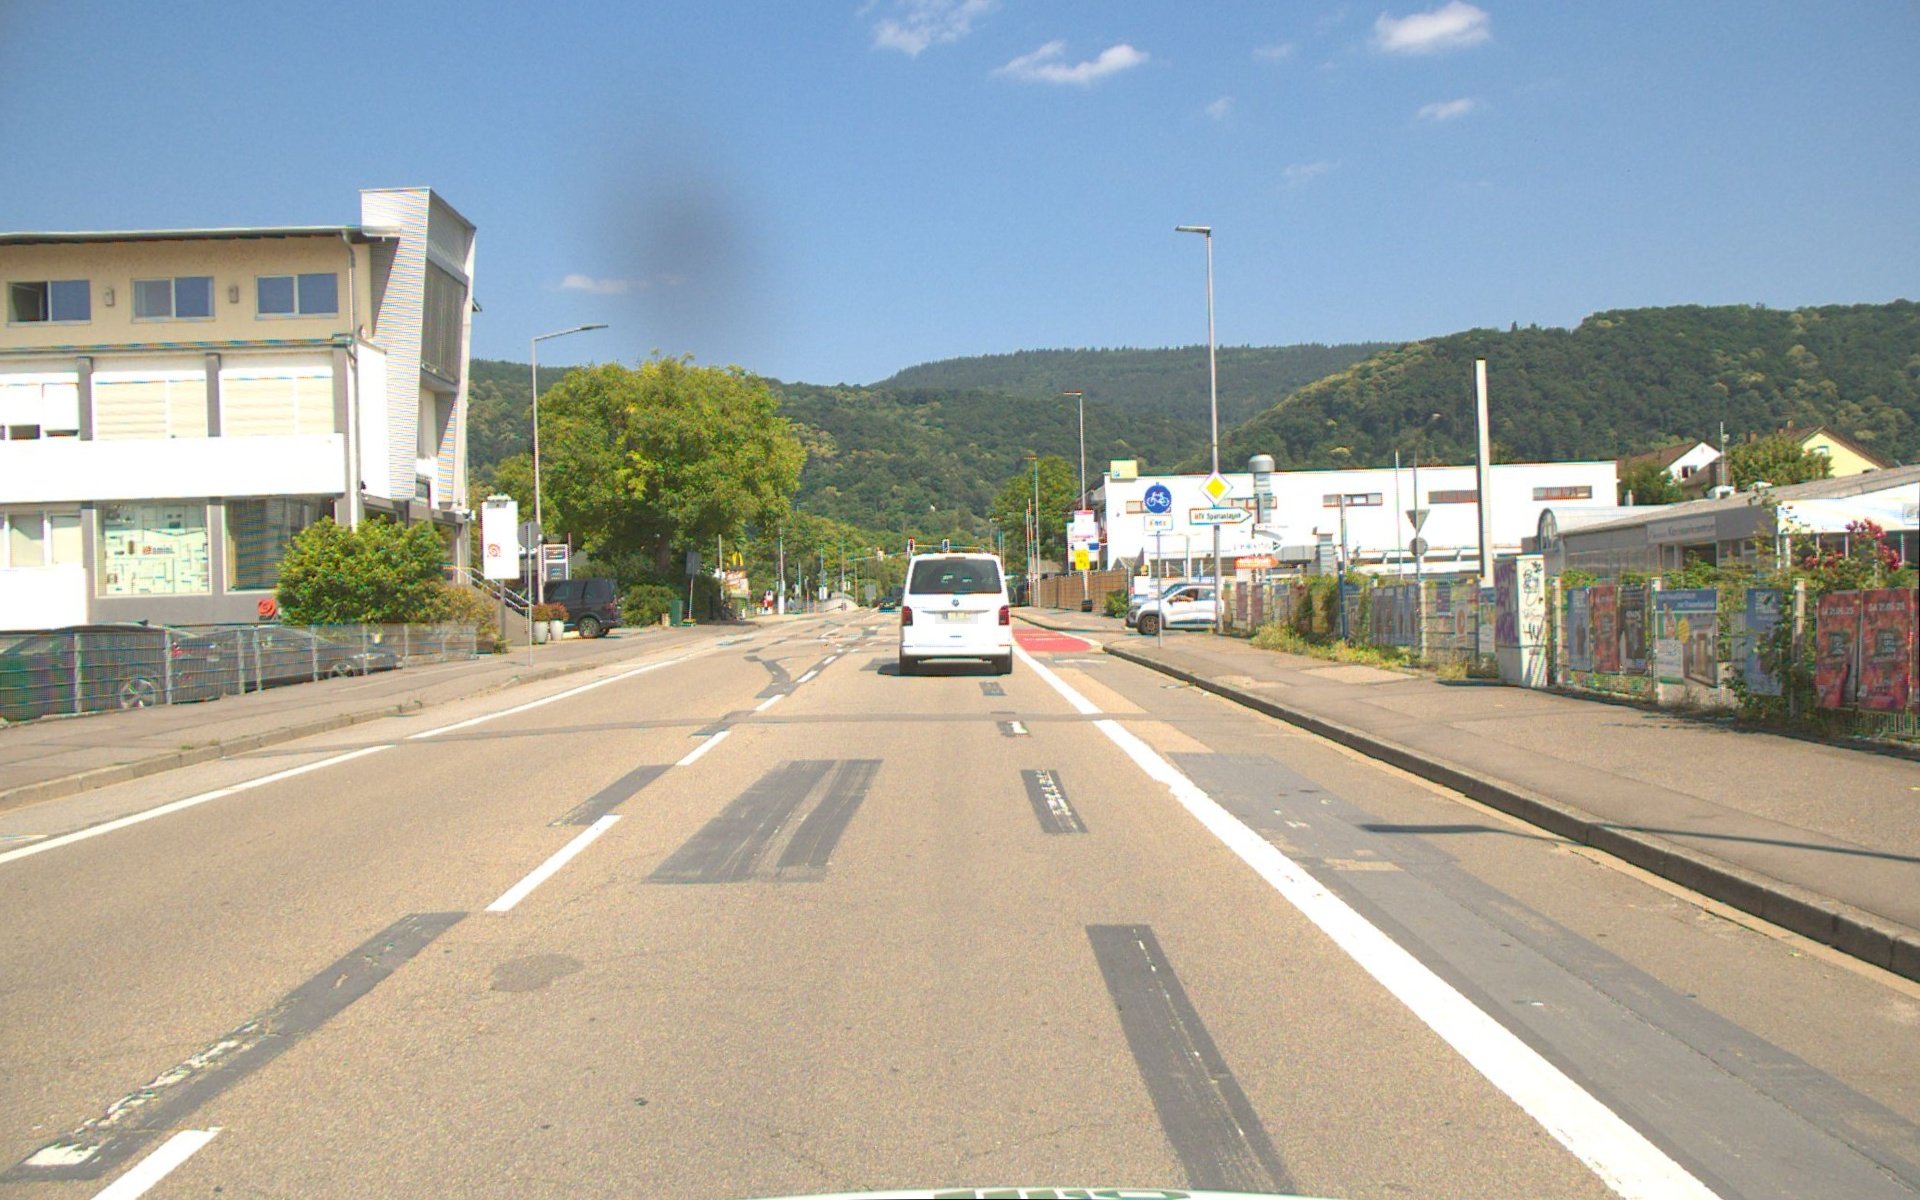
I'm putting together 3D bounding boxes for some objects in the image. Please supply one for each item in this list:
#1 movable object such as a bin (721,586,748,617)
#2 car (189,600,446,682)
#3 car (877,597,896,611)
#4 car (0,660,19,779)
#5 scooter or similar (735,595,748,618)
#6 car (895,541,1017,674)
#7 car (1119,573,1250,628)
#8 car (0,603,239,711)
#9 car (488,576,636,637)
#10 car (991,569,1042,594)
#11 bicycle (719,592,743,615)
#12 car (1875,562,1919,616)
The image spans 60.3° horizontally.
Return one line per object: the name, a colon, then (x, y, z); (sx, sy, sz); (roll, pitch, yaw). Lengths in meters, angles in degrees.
movable object such as a bin: (-12.636, 0.076, 92.682); (1.422, 1.618, 1.304); (-3, 0, -10)
car: (-13.654, 0.851, 35.354); (4.644, 1.506, 2.047); (-2, 0, -3)
car: (-7.953, 0.376, 179.699); (1.954, 1.394, 4.325); (-3, 0, -2)
car: (-14.097, 1.439, 20.317); (3.909, 1.516, 1.857); (2, -2, -5)
scooter or similar: (-11.499, 0.330, 87.033); (0.634, 1.147, 1.620); (1, 0, -7)
car: (-0.145, 0.103, 28.552); (1.896, 2.095, 4.542); (-1, 0, -3)
car: (6.487, -0.002, 48.025); (3.589, 1.510, 1.728); (-1, 1, 1)
car: (-14.462, 0.927, 27.295); (4.212, 1.585, 1.993); (-2, 0, -5)
car: (-13.216, 0.190, 55.165); (4.478, 1.898, 2.090); (-1, 0, -6)
car: (4.583, -1.481, 133.353); (3.903, 1.806, 2.001); (-3, 0, 5)
bicycle: (-11.528, 0.155, 83.237); (1.006, 1.137, 2.764); (1, 0, -4)
car: (31.542, -0.402, 54.930); (1.955, 1.676, 3.995); (0, 2, 28)
